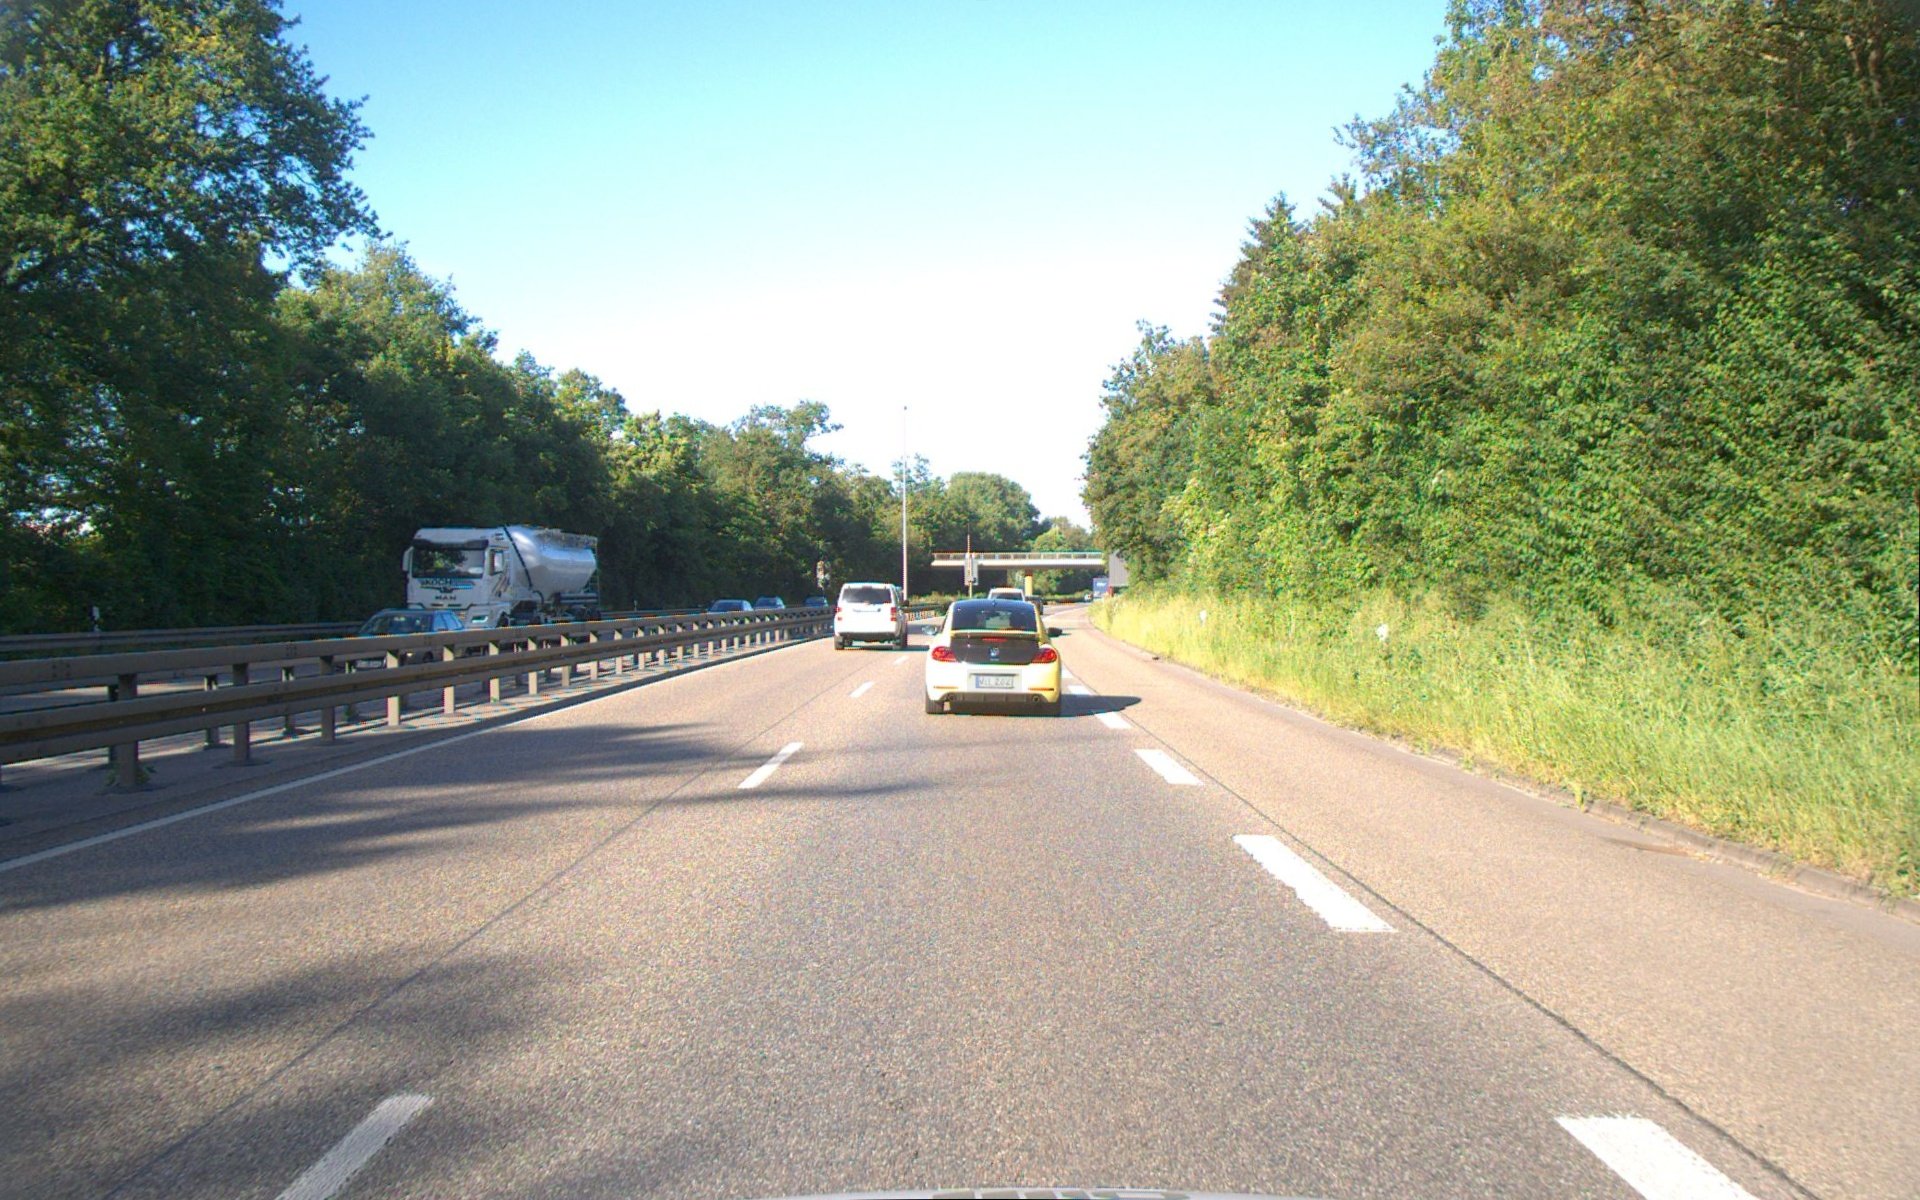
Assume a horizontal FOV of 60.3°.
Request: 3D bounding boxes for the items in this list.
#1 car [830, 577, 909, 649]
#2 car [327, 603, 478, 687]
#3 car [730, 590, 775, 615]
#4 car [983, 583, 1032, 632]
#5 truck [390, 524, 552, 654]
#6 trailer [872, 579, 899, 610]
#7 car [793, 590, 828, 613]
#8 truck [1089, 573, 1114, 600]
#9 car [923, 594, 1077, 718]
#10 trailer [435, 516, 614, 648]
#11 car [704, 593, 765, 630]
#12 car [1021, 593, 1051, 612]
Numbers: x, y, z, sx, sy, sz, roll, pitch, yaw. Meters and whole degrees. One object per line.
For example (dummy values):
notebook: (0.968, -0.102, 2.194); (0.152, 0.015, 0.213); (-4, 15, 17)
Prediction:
car: (-2.433, 0.340, 45.448); (2.043, 1.860, 3.998); (-1, 0, -2)
car: (-10.928, 0.839, 32.717); (1.632, 1.492, 4.091); (-1, 0, -1)
car: (-12.483, 0.145, 99.765); (2.028, 1.493, 4.986); (0, 0, 1)
car: (1.877, 0.271, 64.728); (1.825, 1.801, 4.471); (-1, 0, 2)
truck: (-14.781, -0.340, 50.508); (2.919, 3.693, 6.157); (-1, 0, 2)
trailer: (-6.045, -0.450, 134.462); (1.953, 2.479, 4.606); (-1, 0, 0)
car: (-11.129, 0.098, 123.536); (2.028, 1.642, 5.060); (0, 0, 1)
truck: (22.367, -2.094, 261.534); (3.421, 4.246, 8.869); (-1, 0, 9)
car: (0.449, 0.685, 22.616); (1.842, 1.487, 4.354); (1, 0, -2)
trailer: (-14.654, -0.589, 56.826); (2.989, 4.067, 10.974); (-1, 0, 1)
car: (-9.740, 0.476, 71.646); (1.760, 1.492, 4.698); (-1, 0, 3)
car: (5.919, 0.198, 129.101); (1.951, 1.422, 4.003); (0, 0, 8)
